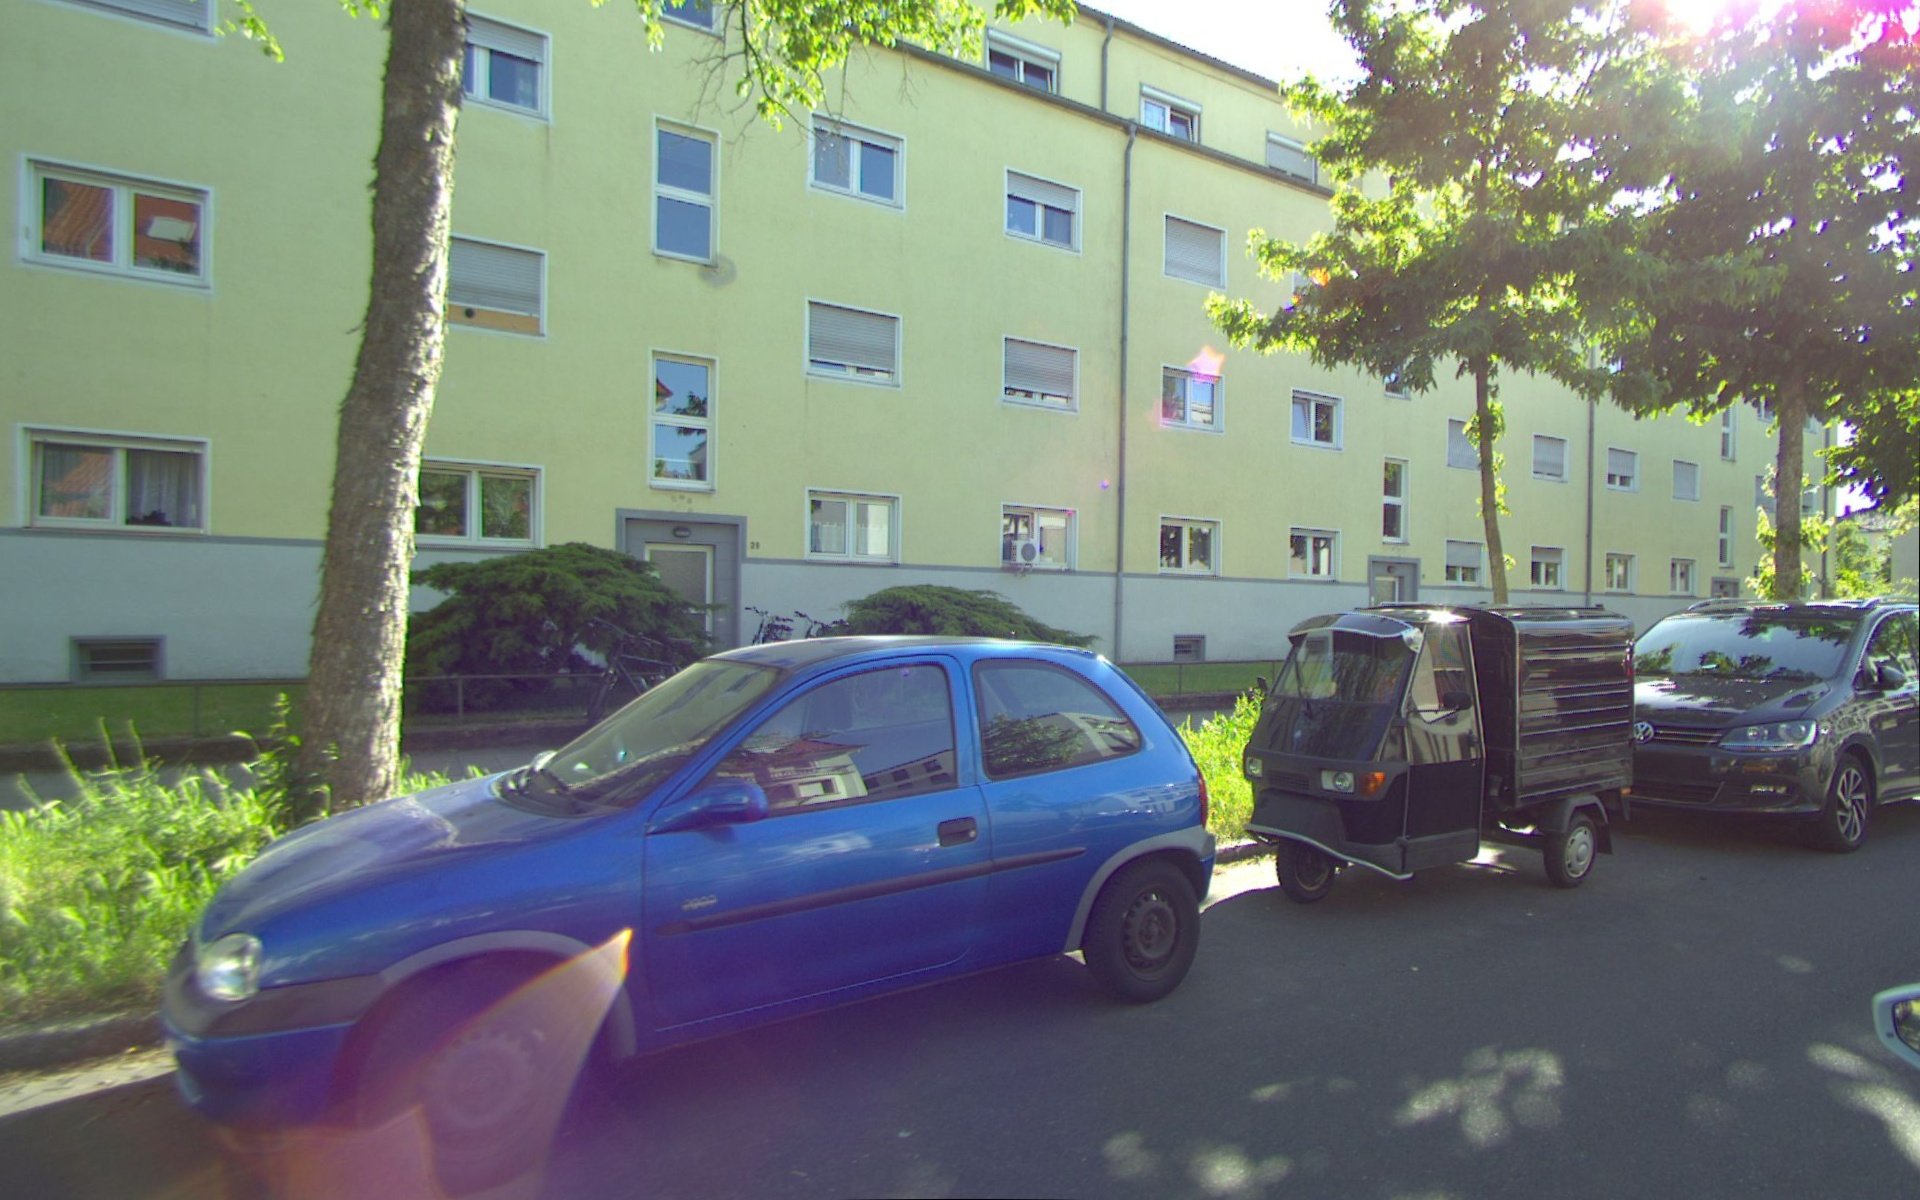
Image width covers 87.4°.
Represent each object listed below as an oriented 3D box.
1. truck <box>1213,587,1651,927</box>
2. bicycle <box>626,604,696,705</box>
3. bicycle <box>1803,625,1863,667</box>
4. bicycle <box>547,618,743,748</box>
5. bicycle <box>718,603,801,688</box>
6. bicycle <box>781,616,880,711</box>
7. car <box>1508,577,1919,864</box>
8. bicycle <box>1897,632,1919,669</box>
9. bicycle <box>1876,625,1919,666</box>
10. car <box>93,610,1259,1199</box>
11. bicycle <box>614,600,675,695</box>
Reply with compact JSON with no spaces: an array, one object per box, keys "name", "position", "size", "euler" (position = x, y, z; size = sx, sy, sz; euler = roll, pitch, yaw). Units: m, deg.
[{"name":"truck","position":[2.742,0.758,5.788],"size":[2.402,1.598,1.079],"euler":[1,0,-29]},{"name":"bicycle","position":[-3.786,0.649,12.628],"size":[0.480,1.095,1.832],"euler":[2,1,-27]},{"name":"bicycle","position":[22.080,1.151,25.403],"size":[1.906,1.005,0.592],"euler":[1,-1,-31]},{"name":"bicycle","position":[-2.948,0.740,9.598],"size":[0.478,1.095,1.839],"euler":[4,1,35]},{"name":"bicycle","position":[-3.007,0.656,14.956],"size":[0.482,1.095,1.828],"euler":[5,0,-34]},{"name":"bicycle","position":[-1.667,0.757,12.689],"size":[0.481,1.095,1.828],"euler":[1,0,-33]},{"name":"car","position":[6.715,0.793,8.059],"size":[4.920,1.702,1.840],"euler":[1,-3,-31]},{"name":"bicycle","position":[27.182,1.425,28.340],"size":[1.906,1.005,0.592],"euler":[1,-1,-31]},{"name":"bicycle","position":[29.250,1.397,30.443],"size":[0.685,1.225,2.126],"euler":[1,-1,-41]},{"name":"car","position":[-0.717,0.773,3.822],"size":[3.686,1.414,1.512],"euler":[1,-1,-32]},{"name":"bicycle","position":[-4.403,0.622,13.945],"size":[0.480,1.161,1.832],"euler":[2,1,-27]}]
